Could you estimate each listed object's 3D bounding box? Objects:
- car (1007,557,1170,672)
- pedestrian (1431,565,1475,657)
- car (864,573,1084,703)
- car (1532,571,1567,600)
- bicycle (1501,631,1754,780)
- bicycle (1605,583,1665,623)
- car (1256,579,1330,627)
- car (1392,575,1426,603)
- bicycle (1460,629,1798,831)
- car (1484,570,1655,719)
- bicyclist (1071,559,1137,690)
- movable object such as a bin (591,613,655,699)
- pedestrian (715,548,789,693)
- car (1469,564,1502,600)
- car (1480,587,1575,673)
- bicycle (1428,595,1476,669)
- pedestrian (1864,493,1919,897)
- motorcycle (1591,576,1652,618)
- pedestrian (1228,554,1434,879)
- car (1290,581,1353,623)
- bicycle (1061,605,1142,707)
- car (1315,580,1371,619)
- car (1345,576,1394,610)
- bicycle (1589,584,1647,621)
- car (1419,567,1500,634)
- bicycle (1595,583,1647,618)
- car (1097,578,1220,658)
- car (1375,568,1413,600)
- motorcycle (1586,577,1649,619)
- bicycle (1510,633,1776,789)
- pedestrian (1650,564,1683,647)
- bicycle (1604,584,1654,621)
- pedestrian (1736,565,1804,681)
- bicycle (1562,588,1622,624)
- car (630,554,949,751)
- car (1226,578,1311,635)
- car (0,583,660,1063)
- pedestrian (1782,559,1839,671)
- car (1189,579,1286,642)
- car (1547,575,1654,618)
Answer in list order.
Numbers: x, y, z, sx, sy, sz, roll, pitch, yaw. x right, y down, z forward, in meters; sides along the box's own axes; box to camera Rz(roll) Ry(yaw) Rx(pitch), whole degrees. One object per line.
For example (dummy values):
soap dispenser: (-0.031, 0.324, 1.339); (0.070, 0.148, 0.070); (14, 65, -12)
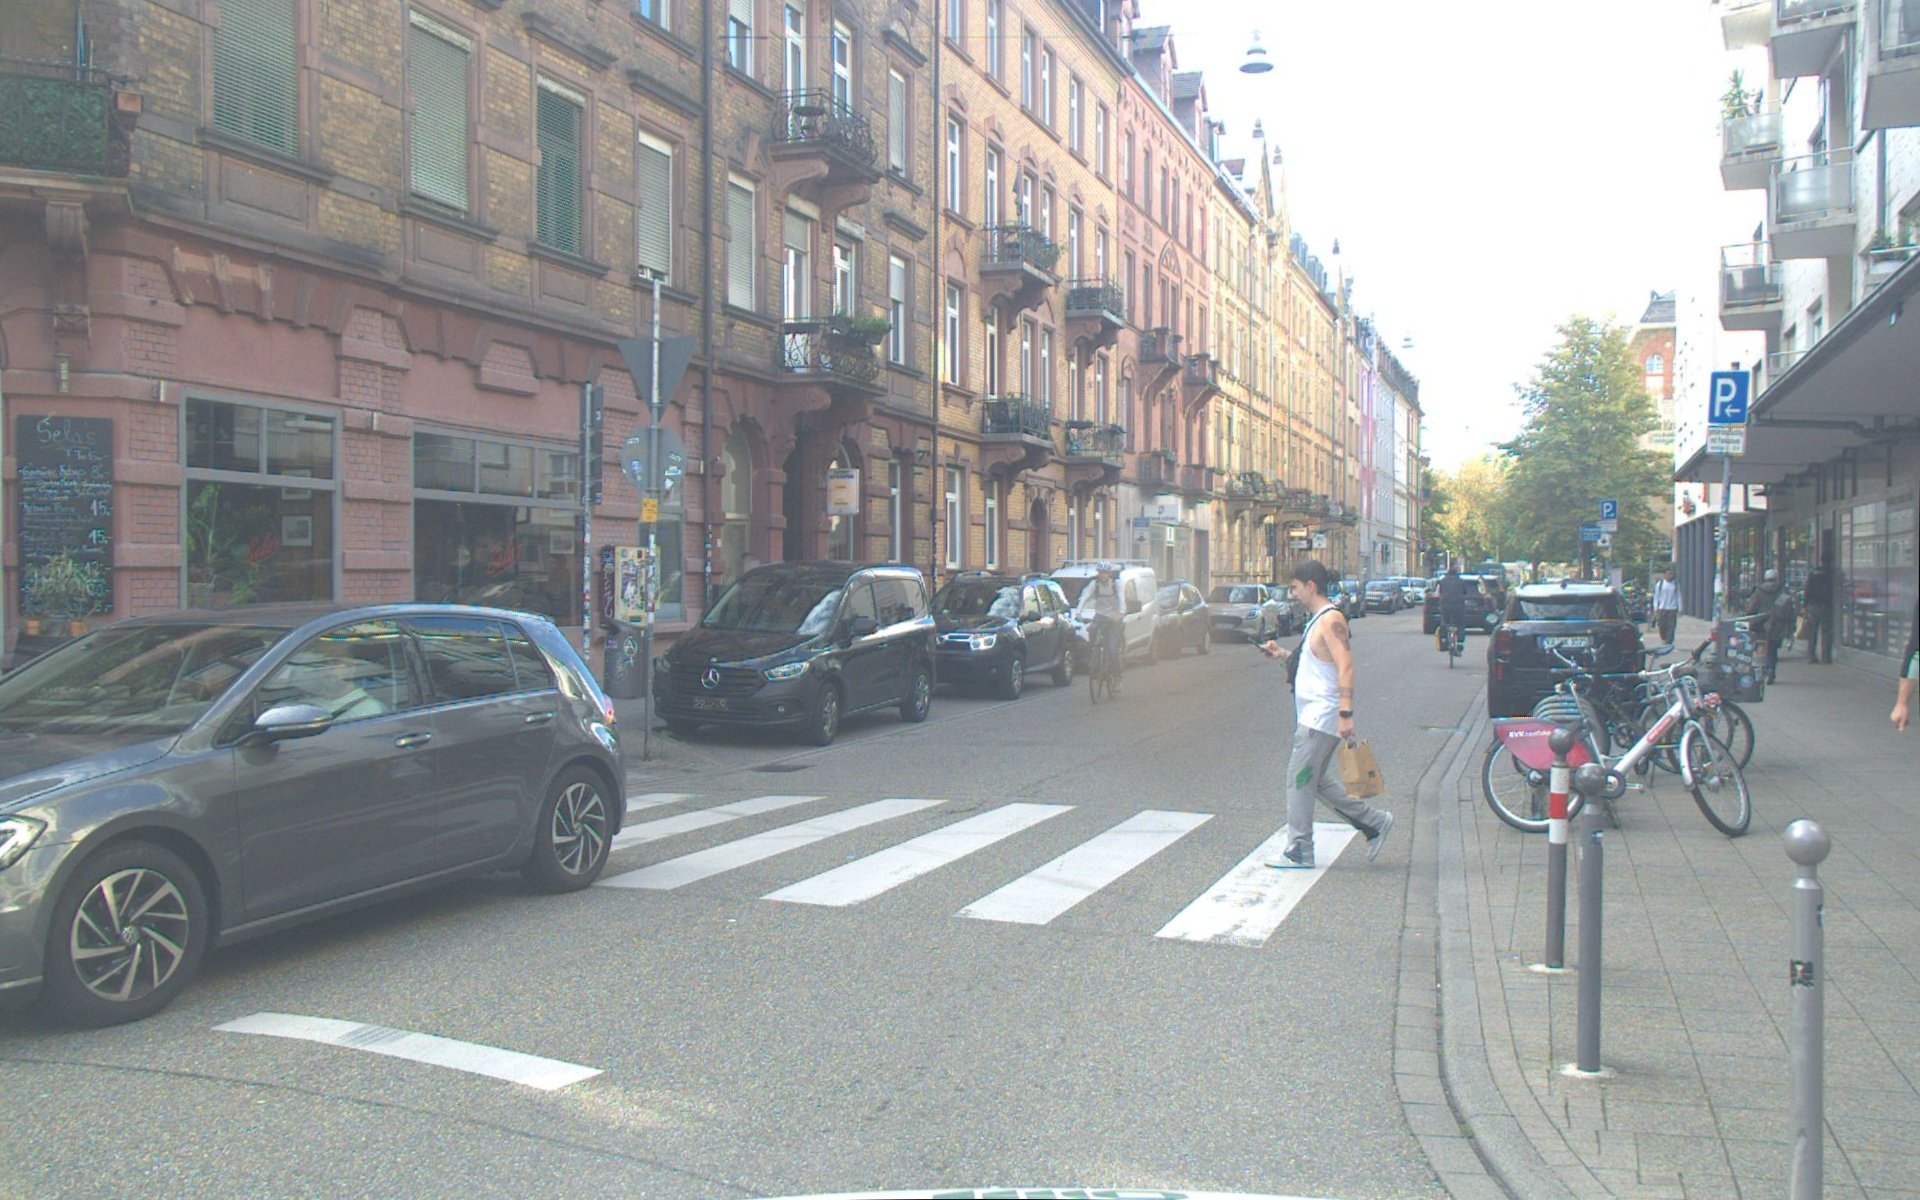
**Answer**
car: (2.394, 0.195, 29.722); (1.880, 1.904, 4.439); (0, 1, 19)
pedestrian: (9.229, 0.188, 30.949); (0.703, 1.678, 0.930); (1, 1, 21)
car: (0.307, 0.454, 23.803); (1.952, 1.666, 4.147); (1, 1, 19)
car: (34.993, -0.890, 98.115); (1.890, 1.666, 4.001); (2, 2, 20)
bicycle: (5.257, 0.828, 13.109); (1.749, 1.089, 0.587); (-2, 1, 10)
bicycle: (21.326, 0.104, 52.268); (1.729, 1.182, 0.650); (-2, 0, 23)
car: (10.556, 0.087, 52.261); (1.655, 1.410, 3.867); (2, 1, 21)
car: (26.842, -0.655, 98.729); (1.655, 1.577, 3.868); (2, 1, 19)
bicycle: (4.125, 0.803, 10.355); (1.843, 1.145, 0.908); (-2, 0, 18)
car: (7.573, 0.479, 20.579); (1.755, 1.633, 3.925); (-2, 0, 20)
bicyclist: (1.934, 0.314, 22.110); (0.686, 1.707, 1.113); (0, 1, 16)
movable object such as a bin: (-2.975, 0.490, 14.620); (0.375, 0.726, 0.476); (1, 1, 16)
pedestrian: (-2.794, 0.258, 22.242); (0.662, 1.872, 0.858); (3, 2, 14)
car: (30.882, -1.061, 97.108); (1.745, 2.055, 3.889); (1, 1, 19)
car: (10.780, 0.521, 31.284); (1.562, 1.464, 4.031); (-1, 1, 21)
bicycle: (9.207, 0.576, 30.910); (0.703, 1.296, 1.884); (1, 1, 21)
pedestrian: (4.914, 0.424, 7.996); (0.867, 1.866, 1.046); (-2, 0, 28)
motorcycle: (25.561, -0.122, 63.871); (2.107, 1.557, 0.686); (-2, 0, 25)
pedestrian: (2.077, 0.608, 9.211); (0.998, 1.700, 0.804); (0, 0, 23)
car: (13.181, 0.069, 60.242); (1.655, 1.410, 3.867); (2, 1, 21)
bicycle: (1.898, 0.713, 21.973); (0.686, 1.241, 2.118); (0, 1, 16)
car: (15.343, -0.045, 66.144); (1.655, 1.462, 3.867); (2, 1, 21)
car: (18.745, -0.322, 75.632); (1.656, 1.392, 3.867); (6, 2, 21)
bicycle: (21.932, 0.083, 55.109); (1.729, 1.166, 0.411); (-2, 0, 0)
car: (14.151, -0.015, 46.704); (1.924, 1.771, 4.042); (1, 1, 20)
bicycle: (23.683, 0.011, 59.269); (1.697, 1.179, 0.500); (-2, 0, 22)
car: (4.218, 0.338, 34.631); (1.705, 1.509, 3.984); (2, 1, 19)
car: (22.957, -0.886, 87.393); (1.655, 1.577, 3.869); (1, 2, 19)
motorcycle: (24.275, -0.066, 61.070); (2.107, 1.460, 0.765); (-2, 0, 25)
bicycle: (5.131, 0.836, 12.511); (1.749, 1.089, 0.569); (-2, 1, 10)
pedestrian: (15.264, 0.106, 35.750); (0.599, 1.756, 1.127); (0, 1, 21)
bicycle: (21.859, 0.090, 54.024); (1.464, 1.166, 0.411); (-2, 0, 21)
pedestrian: (11.601, 0.321, 23.718); (0.807, 1.616, 0.780); (0, 0, 22)
bicycle: (20.290, 0.197, 53.091); (1.728, 1.075, 0.412); (-2, 0, 15)
car: (-1.680, 0.453, 17.938); (1.723, 1.804, 4.408); (2, 2, 19)
car: (8.938, 0.170, 47.685); (1.706, 1.509, 3.984); (2, 1, 21)
car: (-3.106, 0.704, 7.040); (1.754, 1.463, 4.000); (-1, -1, 21)
pedestrian: (14.672, 0.253, 28.527); (0.639, 1.892, 0.699); (0, 1, -41)
car: (7.298, 0.254, 43.196); (1.706, 1.509, 3.984); (2, 1, 21)
car: (25.617, -0.136, 66.258); (3.680, 1.573, 1.732); (-2, -1, 10)
